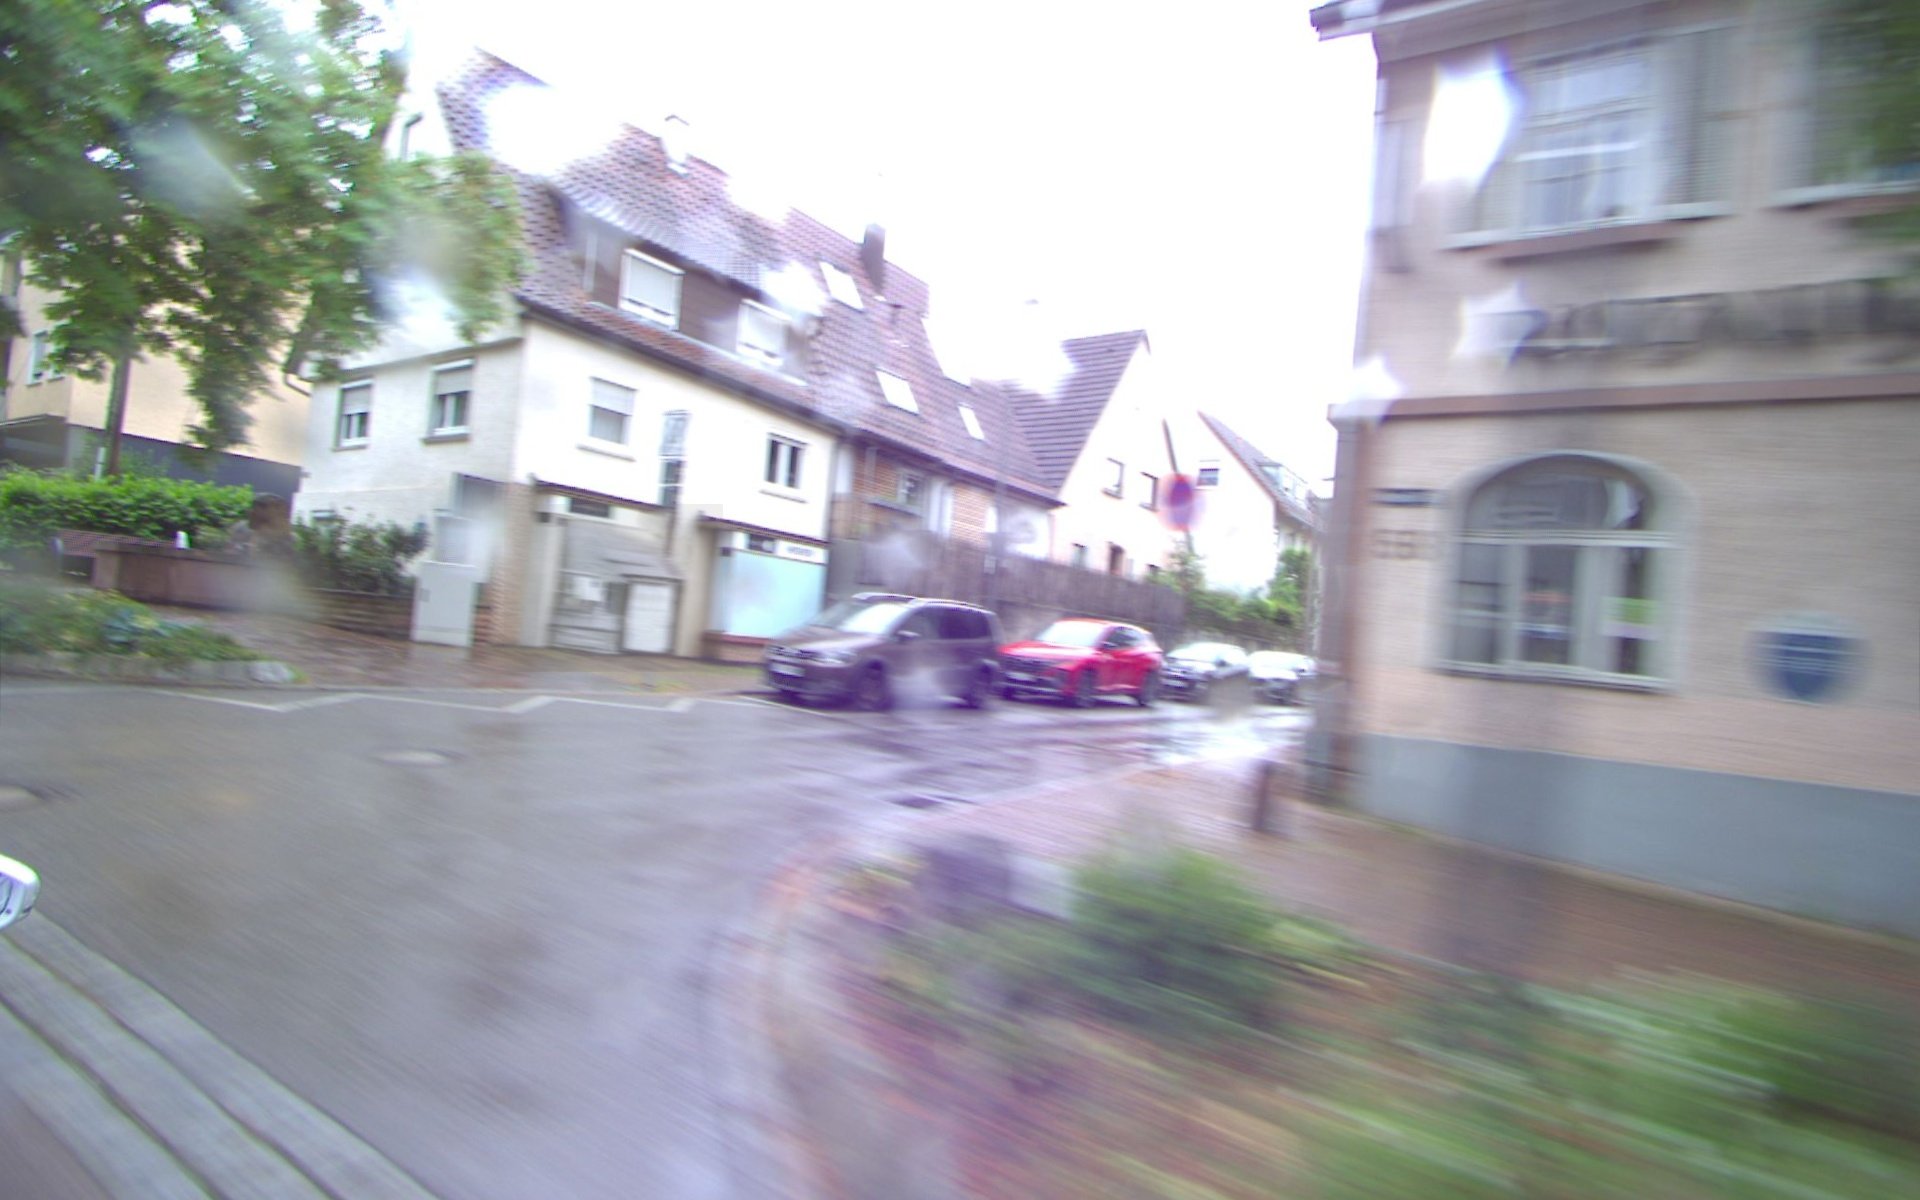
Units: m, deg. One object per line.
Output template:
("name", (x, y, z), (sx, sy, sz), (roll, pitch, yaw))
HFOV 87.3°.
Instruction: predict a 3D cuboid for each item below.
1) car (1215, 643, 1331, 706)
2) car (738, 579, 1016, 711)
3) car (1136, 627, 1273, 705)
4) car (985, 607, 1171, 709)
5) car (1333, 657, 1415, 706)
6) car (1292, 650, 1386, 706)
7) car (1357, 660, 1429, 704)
("car", (9.028, 2.157, 28.796), (1.812, 1.513, 4.180), (5, -1, 37))
("car", (-1.118, 0.747, 15.407), (1.812, 1.603, 4.180), (6, -1, 37))
("car", (6.164, 1.678, 25.028), (1.753, 1.603, 3.956), (6, -1, 37))
("car", (2.425, 1.184, 19.727), (1.678, 1.641, 4.182), (7, -1, 36))
("car", (15.826, 3.142, 38.354), (1.812, 1.513, 4.182), (6, -1, 37))
("car", (12.739, 2.653, 33.644), (1.811, 1.513, 4.183), (6, -1, 36))
("car", (18.194, 3.471, 42.206), (1.811, 1.513, 4.183), (6, -1, 36))
